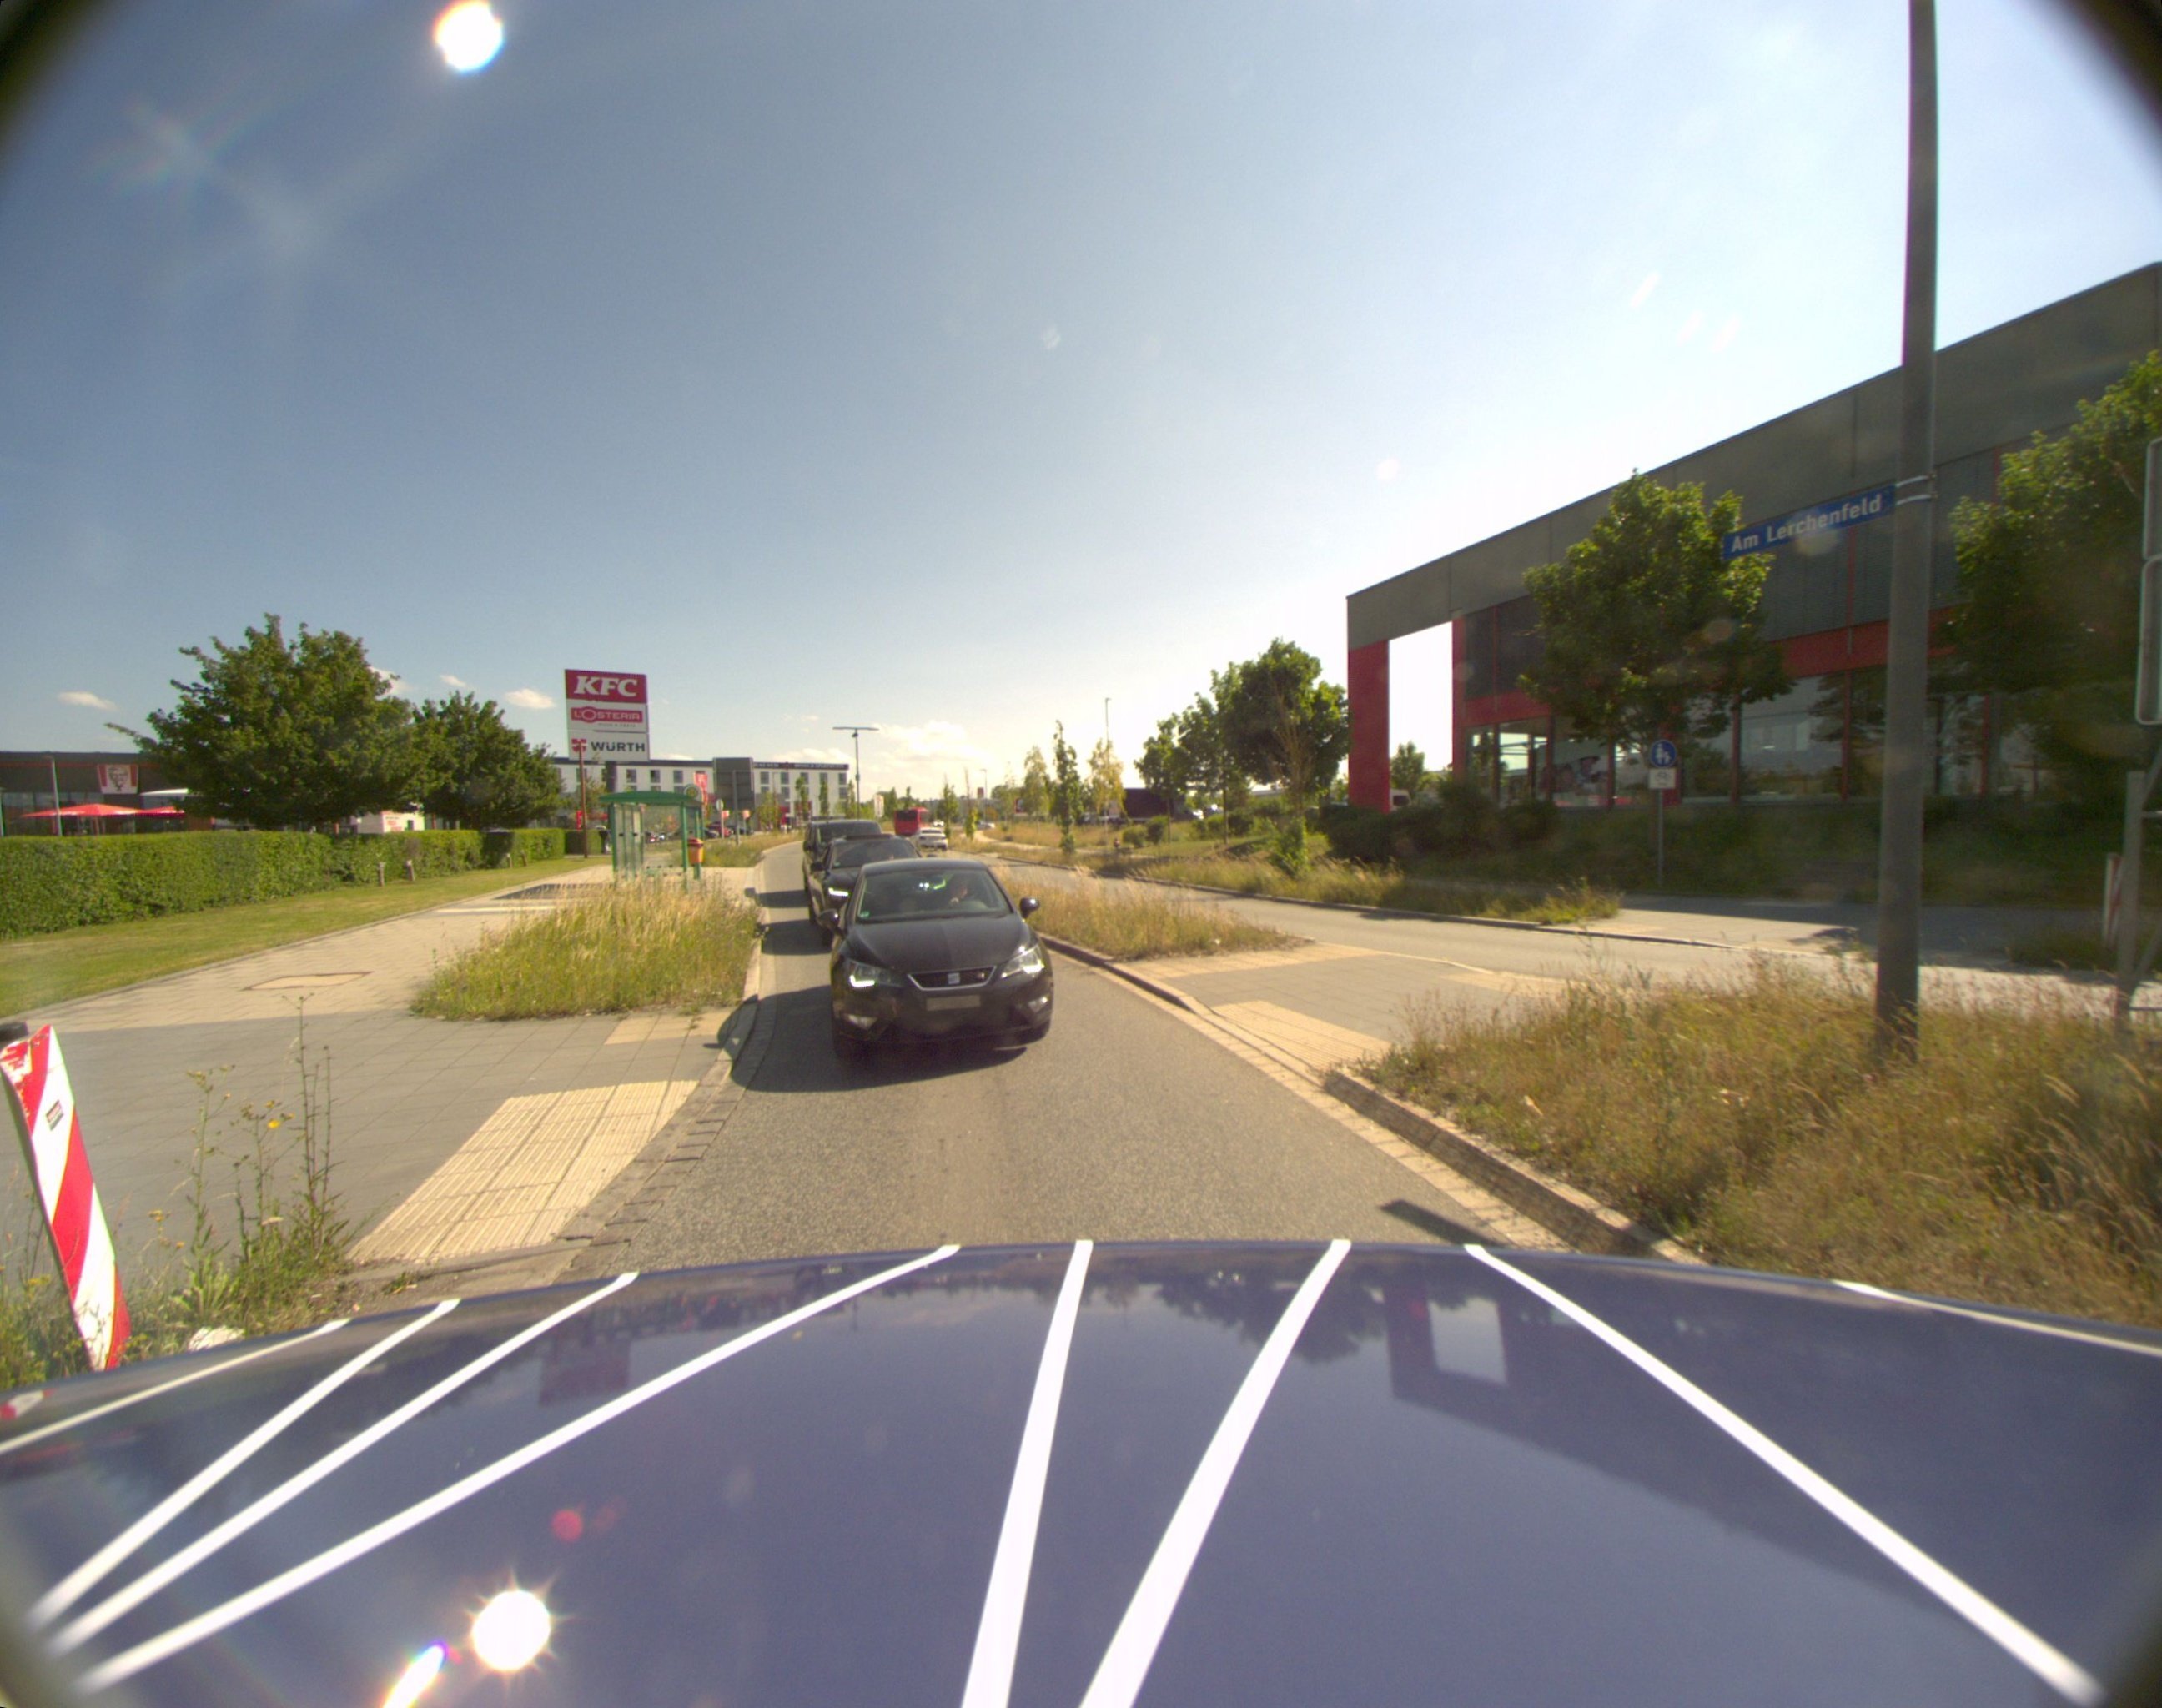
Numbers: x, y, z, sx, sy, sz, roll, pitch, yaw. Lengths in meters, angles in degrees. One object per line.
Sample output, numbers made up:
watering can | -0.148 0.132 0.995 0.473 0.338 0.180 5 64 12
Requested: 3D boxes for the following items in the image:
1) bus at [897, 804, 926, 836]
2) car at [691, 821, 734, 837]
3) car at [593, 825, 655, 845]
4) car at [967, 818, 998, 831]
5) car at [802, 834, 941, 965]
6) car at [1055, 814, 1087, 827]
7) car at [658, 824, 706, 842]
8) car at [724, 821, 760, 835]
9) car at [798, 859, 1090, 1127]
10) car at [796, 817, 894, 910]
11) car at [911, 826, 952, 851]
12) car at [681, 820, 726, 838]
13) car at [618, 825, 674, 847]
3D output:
bus | -18.598 -3.732 83.888 2.618 3.224 11.865 -2 2 -10
car | -44.385 -3.017 91.639 4.186 1.752 1.822 -1 3 -5
car | -41.662 -1.779 69.392 4.445 1.644 1.930 -2 3 -15
car | -13.569 -4.034 104.547 3.943 1.667 1.618 -1 3 1
car | -3.724 0.602 13.070 1.864 1.680 3.991 -5 4 -20
car | -1.327 -4.666 104.701 4.279 1.667 1.619 -2 2 1
car | -43.749 -2.320 83.356 4.185 1.847 1.801 -1 3 -4
car | -43.826 -3.385 98.349 3.825 1.611 1.755 -2 3 -9
car | -1.416 0.887 6.906 1.864 1.460 3.993 -2 2 -17
car | -6.343 0.115 20.166 2.082 2.038 4.672 -5 4 -20
car | -9.143 -0.977 46.189 1.799 1.408 4.373 -2 3 -20
car | -43.887 -2.935 88.444 4.187 2.003 1.931 -2 3 -10
car | -42.317 -1.805 74.007 4.186 2.003 1.931 -1 3 -7
